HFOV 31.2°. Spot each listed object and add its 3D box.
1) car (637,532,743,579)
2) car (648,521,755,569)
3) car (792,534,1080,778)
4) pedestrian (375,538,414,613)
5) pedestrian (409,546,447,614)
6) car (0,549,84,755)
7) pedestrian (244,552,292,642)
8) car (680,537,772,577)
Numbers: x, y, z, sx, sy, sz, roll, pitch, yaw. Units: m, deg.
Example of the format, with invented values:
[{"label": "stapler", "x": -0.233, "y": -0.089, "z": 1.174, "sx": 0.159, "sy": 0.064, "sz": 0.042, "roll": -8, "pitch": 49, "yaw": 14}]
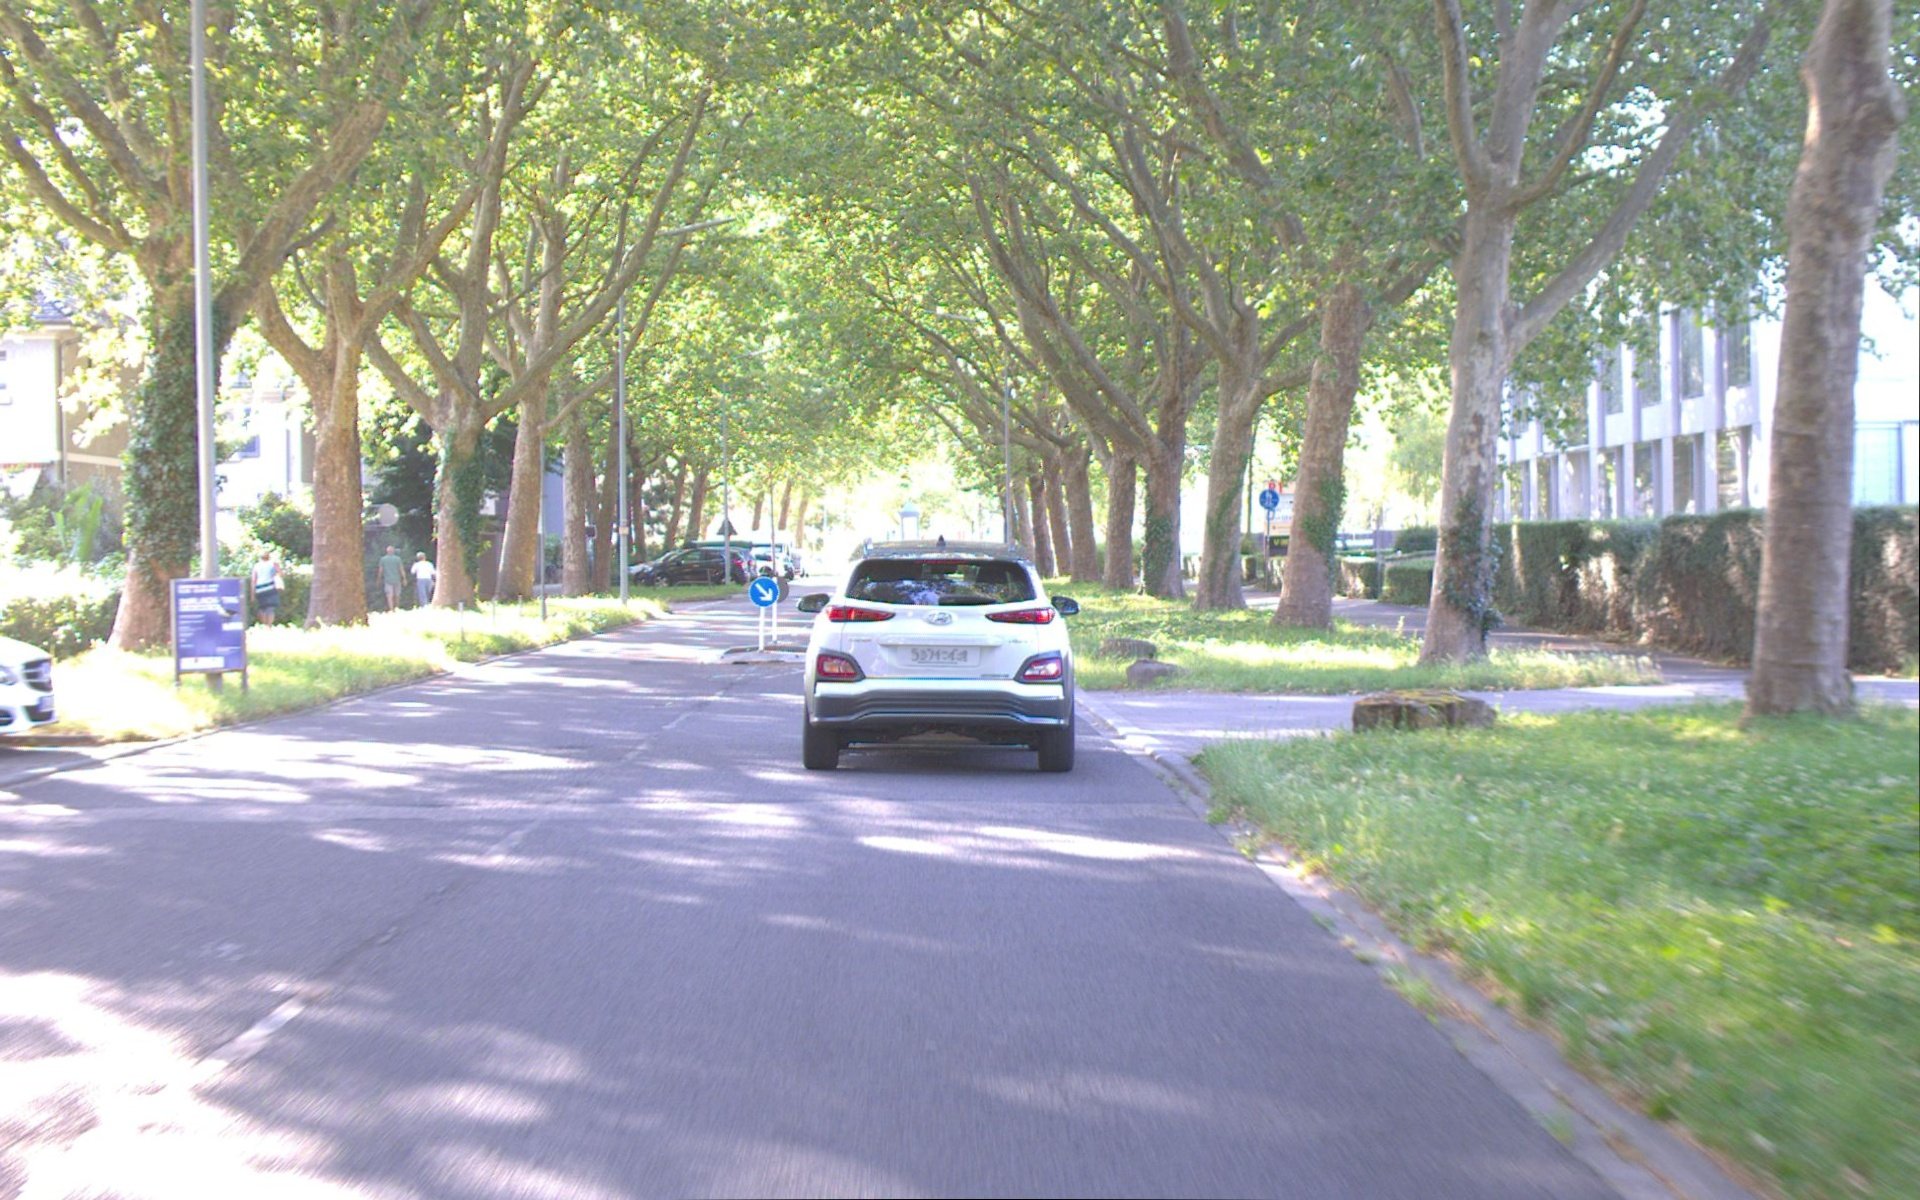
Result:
[{"label": "car", "x": -10.375, "y": -1.690, "z": 131.983, "sx": 3.986, "sy": 1.766, "sz": 2.000, "roll": 0, "pitch": 0, "yaw": -5}, {"label": "car", "x": -9.693, "y": -2.051, "z": 128.732, "sx": 3.986, "sy": 1.766, "sz": 2.000, "roll": 0, "pitch": 0, "yaw": -5}, {"label": "car", "x": -0.197, "y": 0.349, "z": 24.216, "sx": 1.835, "sy": 1.550, "sz": 4.000, "roll": 1, "pitch": 0, "yaw": -1}, {"label": "pedestrian", "x": -14.202, "y": -0.613, "z": 86.285, "sx": 0.749, "sy": 1.868, "sz": 0.793, "roll": 0, "pitch": 0, "yaw": -26}, {"label": "pedestrian", "x": -13.397, "y": -0.499, "z": 86.570, "sx": 0.749, "sy": 1.702, "sz": 0.793, "roll": 0, "pitch": 0, "yaw": -25}, {"label": "car", "x": -8.696, "y": 0.361, "z": 25.375, "sx": 3.987, "sy": 1.465, "sz": 1.809, "roll": 0, "pitch": 1, "yaw": 1}, {"label": "pedestrian", "x": -13.114, "y": -0.057, "z": 65.202, "sx": 0.749, "sy": 1.701, "sz": 0.793, "roll": 0, "pitch": 0, "yaw": -1}, {"label": "car", "x": -10.278, "y": -1.894, "z": 150.984, "sx": 3.986, "sy": 1.766, "sz": 2.000, "roll": 0, "pitch": 1, "yaw": -5}]
